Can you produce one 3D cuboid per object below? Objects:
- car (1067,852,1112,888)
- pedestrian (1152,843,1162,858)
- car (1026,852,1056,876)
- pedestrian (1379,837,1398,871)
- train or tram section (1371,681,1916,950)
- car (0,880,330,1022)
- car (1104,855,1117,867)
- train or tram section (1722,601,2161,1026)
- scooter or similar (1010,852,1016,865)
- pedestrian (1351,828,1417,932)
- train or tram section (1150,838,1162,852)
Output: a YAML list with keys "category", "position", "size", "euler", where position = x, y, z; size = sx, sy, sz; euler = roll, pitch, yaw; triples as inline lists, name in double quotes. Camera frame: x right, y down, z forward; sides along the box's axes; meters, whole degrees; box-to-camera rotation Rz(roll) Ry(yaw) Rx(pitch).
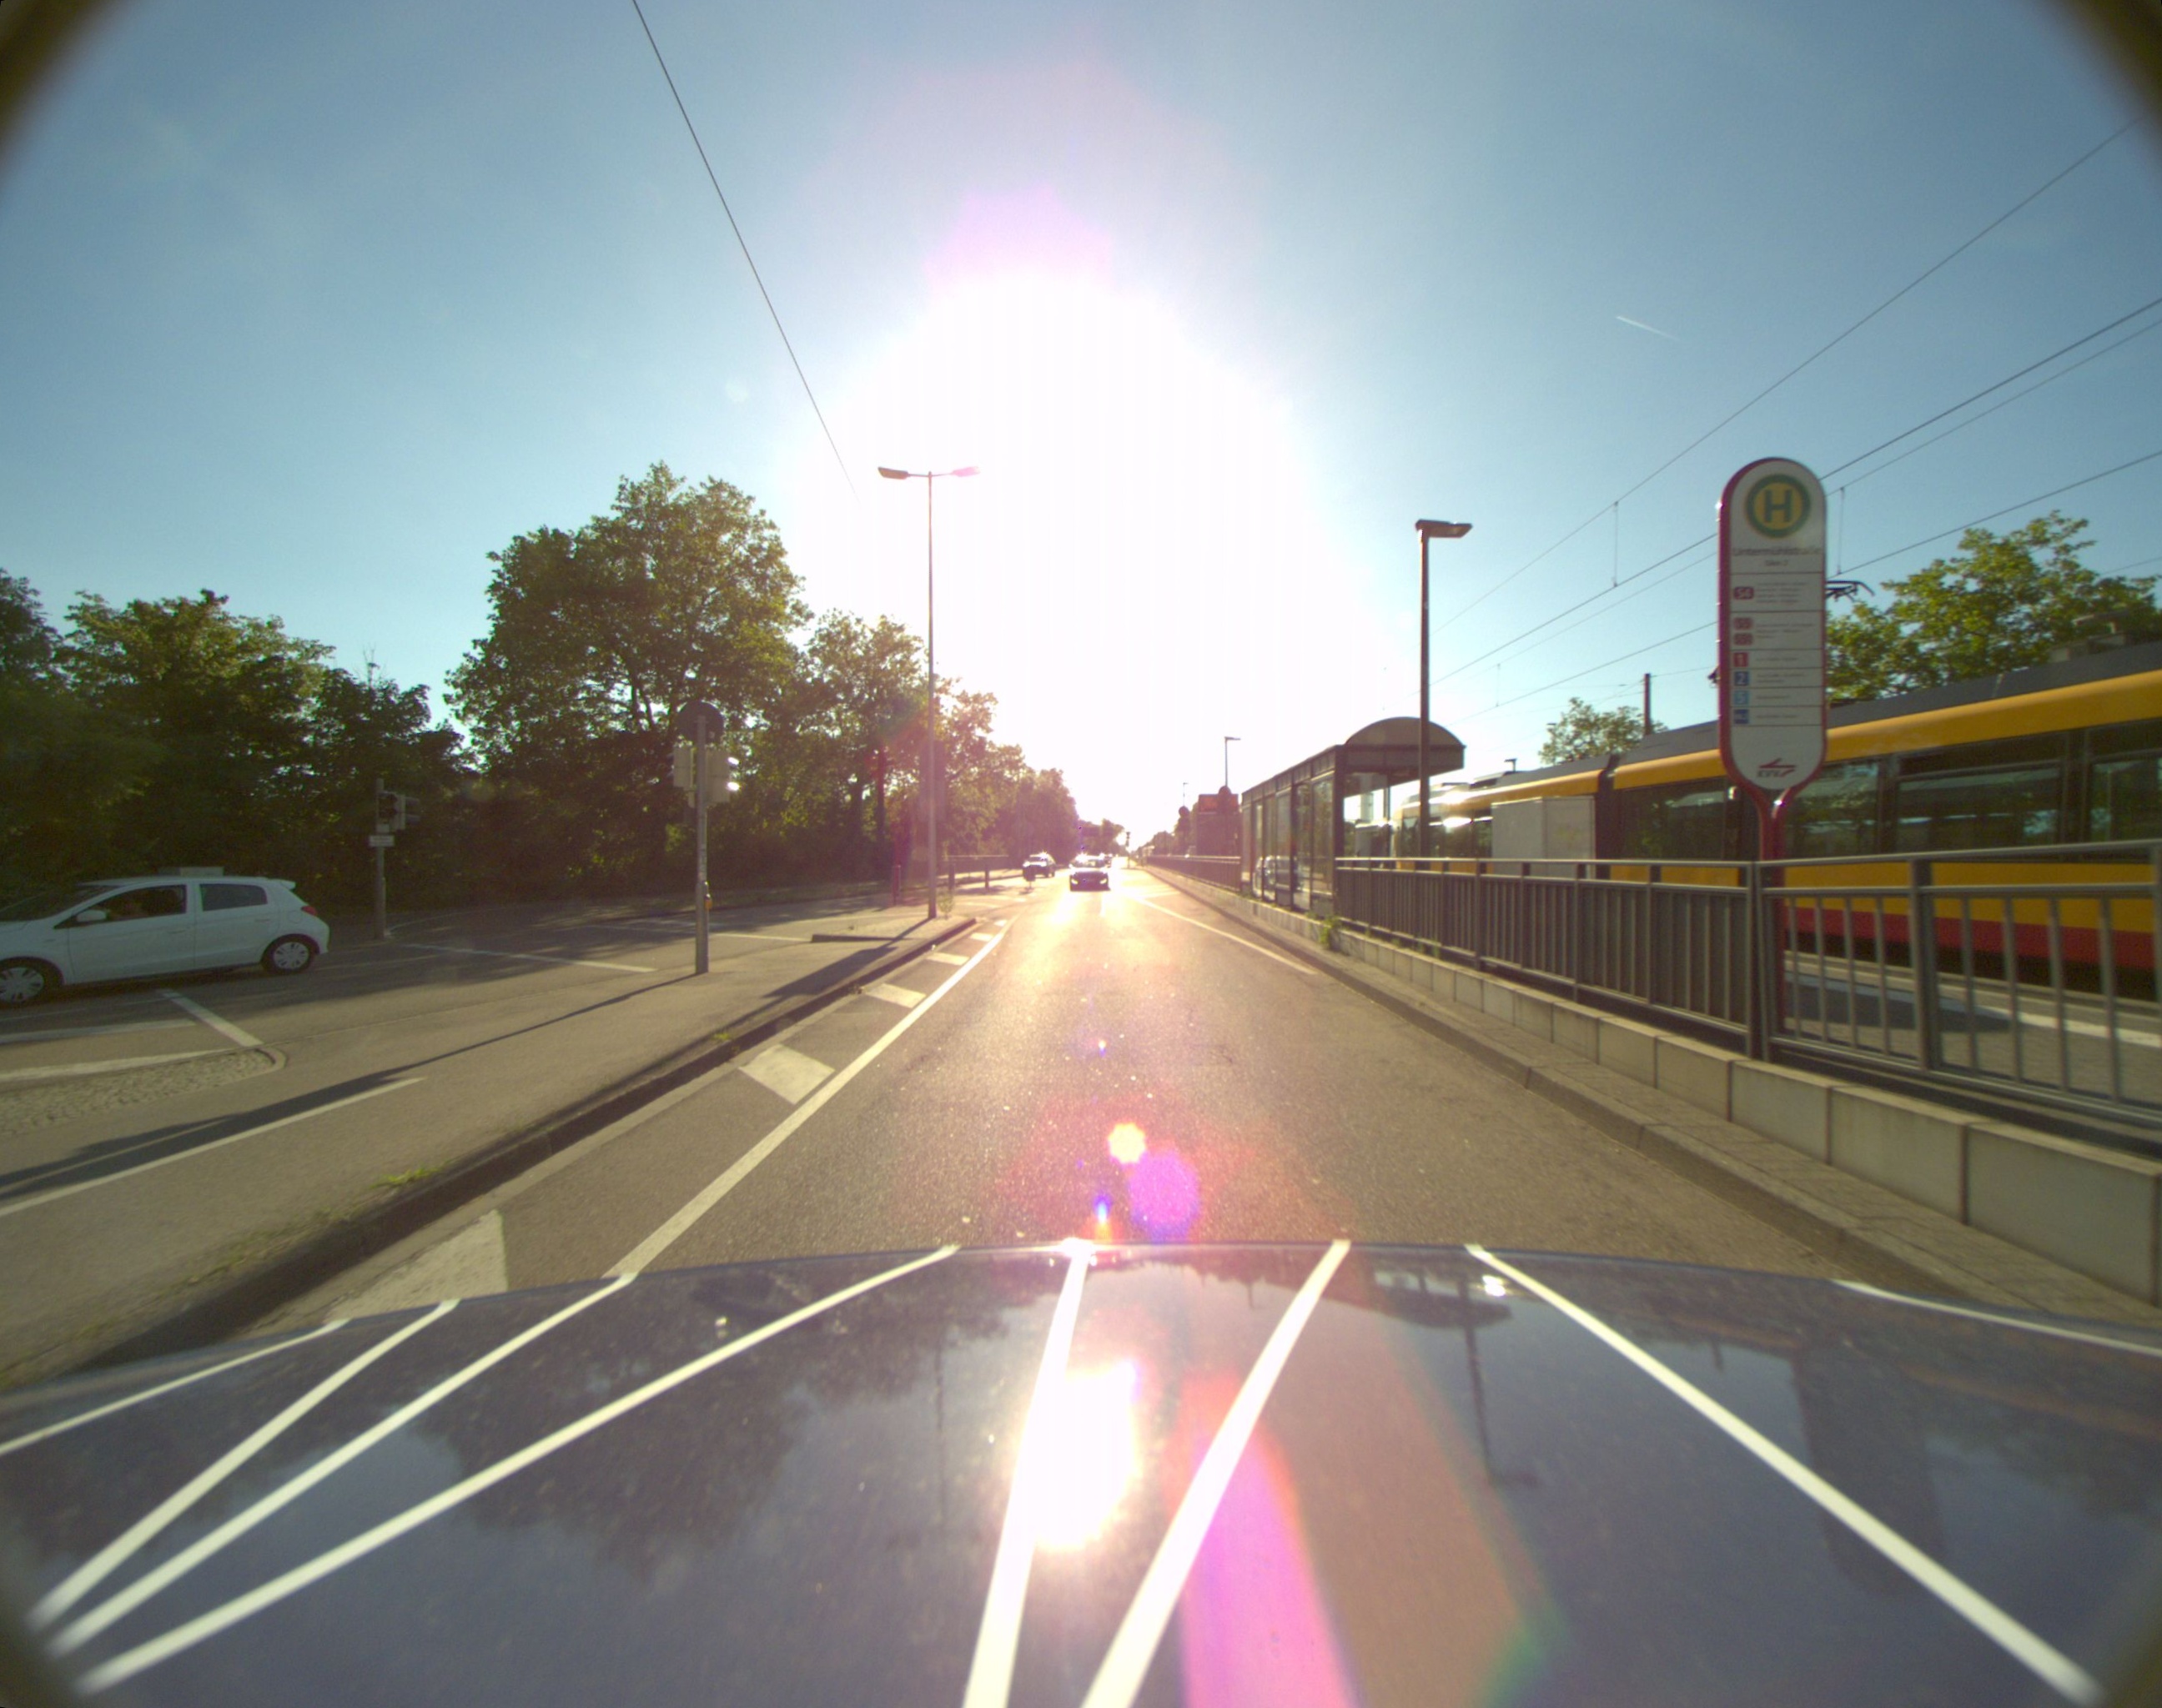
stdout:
- category: "car"
  position: [0.439, 0.703, 35.626]
  size: [1.786, 1.530, 4.001]
  euler: [2, 1, 5]
- category: "pedestrian"
  position: [8.498, -0.356, 84.983]
  size: [0.892, 1.635, 0.986]
  euler: [0, 1, -2]
- category: "car"
  position: [-2.895, 0.703, 55.849]
  size: [1.824, 1.608, 4.000]
  euler: [-1, 1, 2]
- category: "pedestrian"
  position: [15.947, 0.014, 39.388]
  size: [0.588, 1.747, 0.700]
  euler: [-1, 1, -11]
- category: "train or tram section"
  position: [11.481, -0.611, 19.357]
  size: [2.834, 3.982, 15.877]
  euler: [-1, 0, 3]
- category: "car"
  position: [-12.653, 1.151, 9.876]
  size: [1.669, 1.465, 3.748]
  euler: [0, 1, 16]
- category: "car"
  position: [4.078, 0.945, 104.436]
  size: [1.783, 1.586, 4.000]
  euler: [0, 0, 2]
- category: "train or tram section"
  position: [10.656, -0.360, 4.801]
  size: [2.834, 3.665, 12.970]
  euler: [-1, 0, 3]
- category: "scooter or similar"
  position: [-6.780, 0.470, 76.152]
  size: [0.427, 1.267, 1.083]
  euler: [0, 1, 3]
- category: "pedestrian"
  position: [4.543, 0.373, 11.376]
  size: [0.760, 1.485, 0.696]
  euler: [0, 1, 36]
- category: "train or tram section"
  position: [20.845, -2.435, 211.800]
  size: [2.890, 3.924, 12.114]
  euler: [0, 0, 3]
